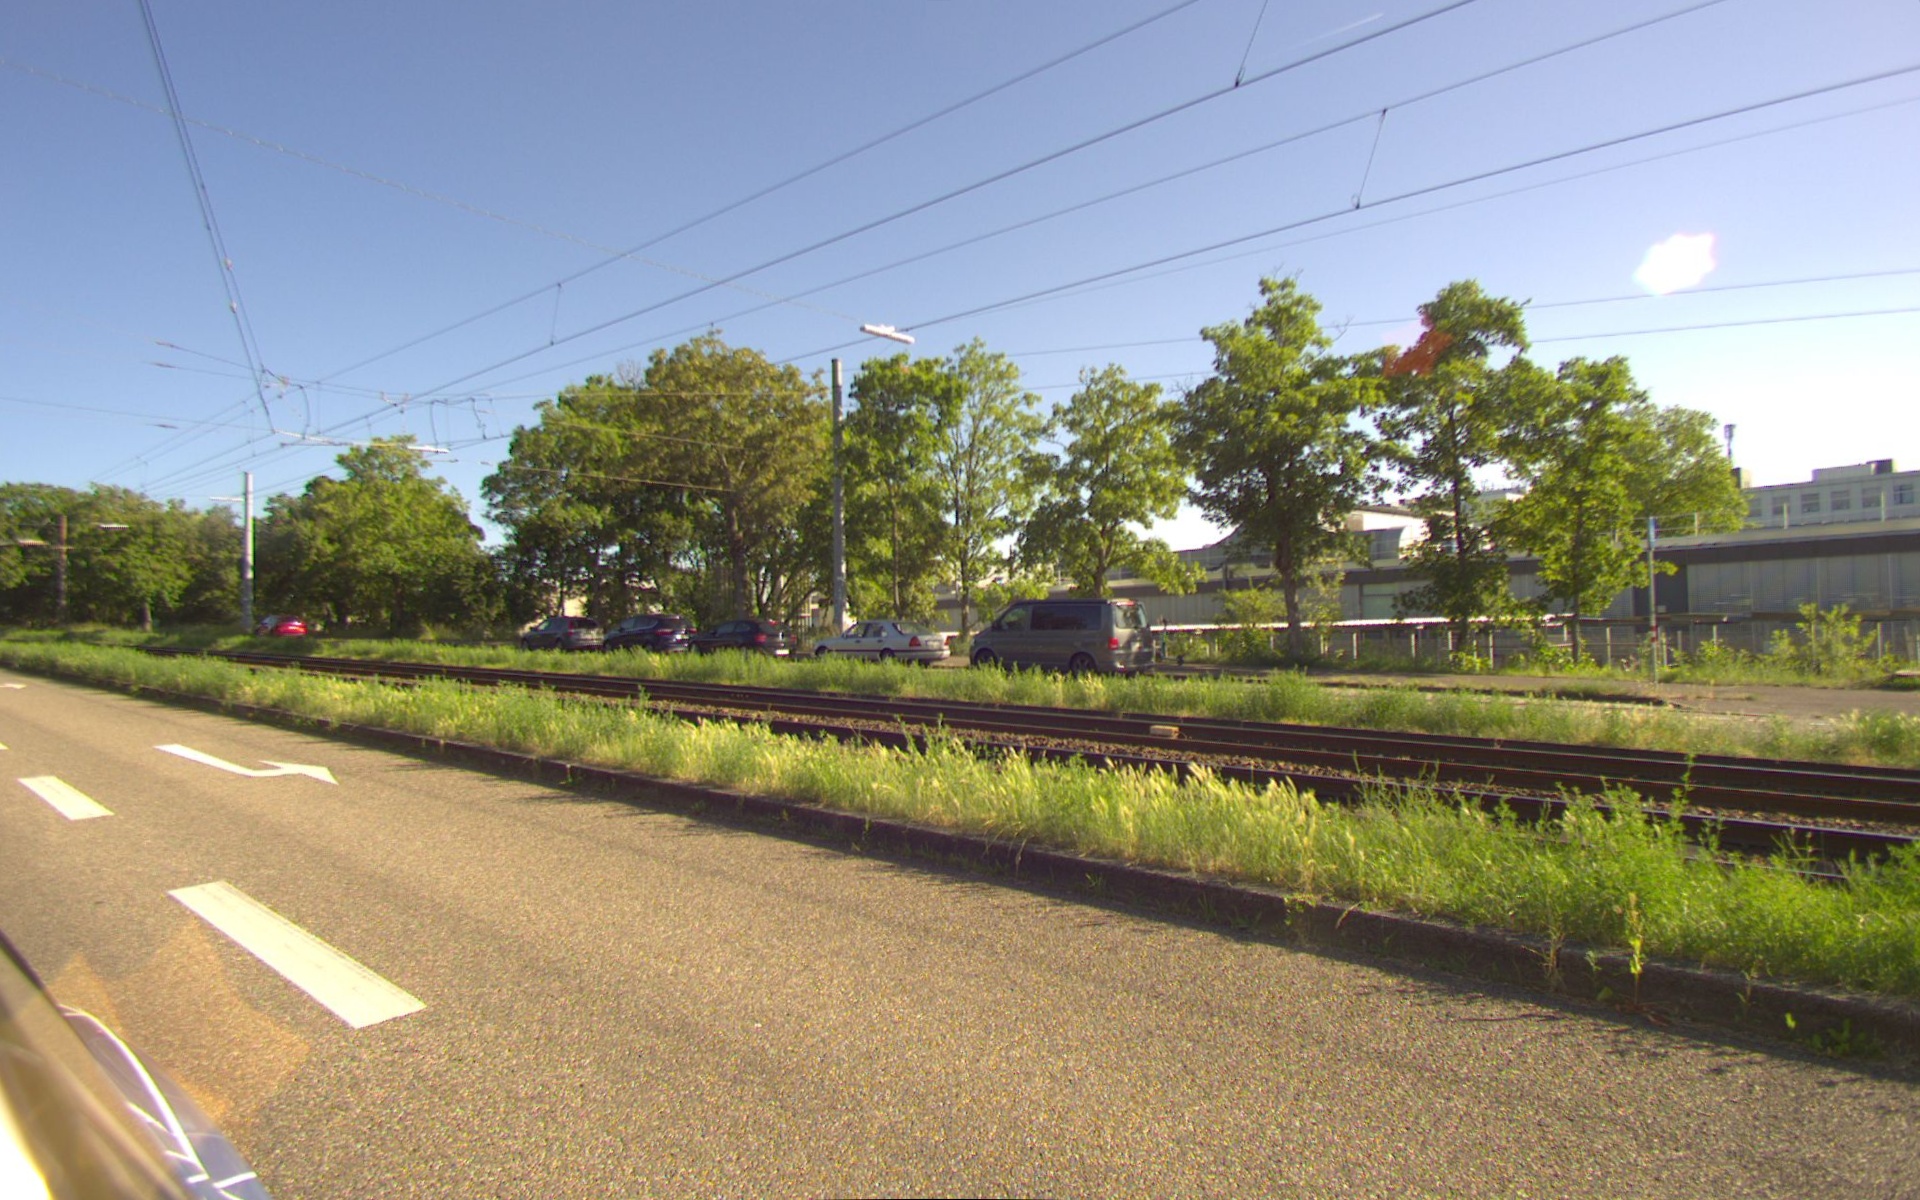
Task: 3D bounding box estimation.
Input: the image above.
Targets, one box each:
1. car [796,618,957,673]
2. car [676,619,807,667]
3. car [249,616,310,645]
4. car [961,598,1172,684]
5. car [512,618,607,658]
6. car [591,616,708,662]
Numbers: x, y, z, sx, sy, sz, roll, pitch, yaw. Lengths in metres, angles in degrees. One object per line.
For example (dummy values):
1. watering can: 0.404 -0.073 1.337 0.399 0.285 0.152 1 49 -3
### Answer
1. car: -2.462 1.278 29.196 4.692 1.448 1.908 -2 -1 41
2. car: -7.239 1.393 33.300 4.412 1.448 1.973 -2 -1 41
3. car: -42.203 1.870 62.756 4.462 1.715 1.984 -1 -1 40
4. car: 2.521 0.956 24.786 4.791 1.905 2.173 -2 -1 43
5. car: -16.347 1.514 41.209 4.323 1.505 1.718 -1 0 39
6. car: -11.326 1.396 36.765 4.430 1.586 1.974 -2 -1 39
